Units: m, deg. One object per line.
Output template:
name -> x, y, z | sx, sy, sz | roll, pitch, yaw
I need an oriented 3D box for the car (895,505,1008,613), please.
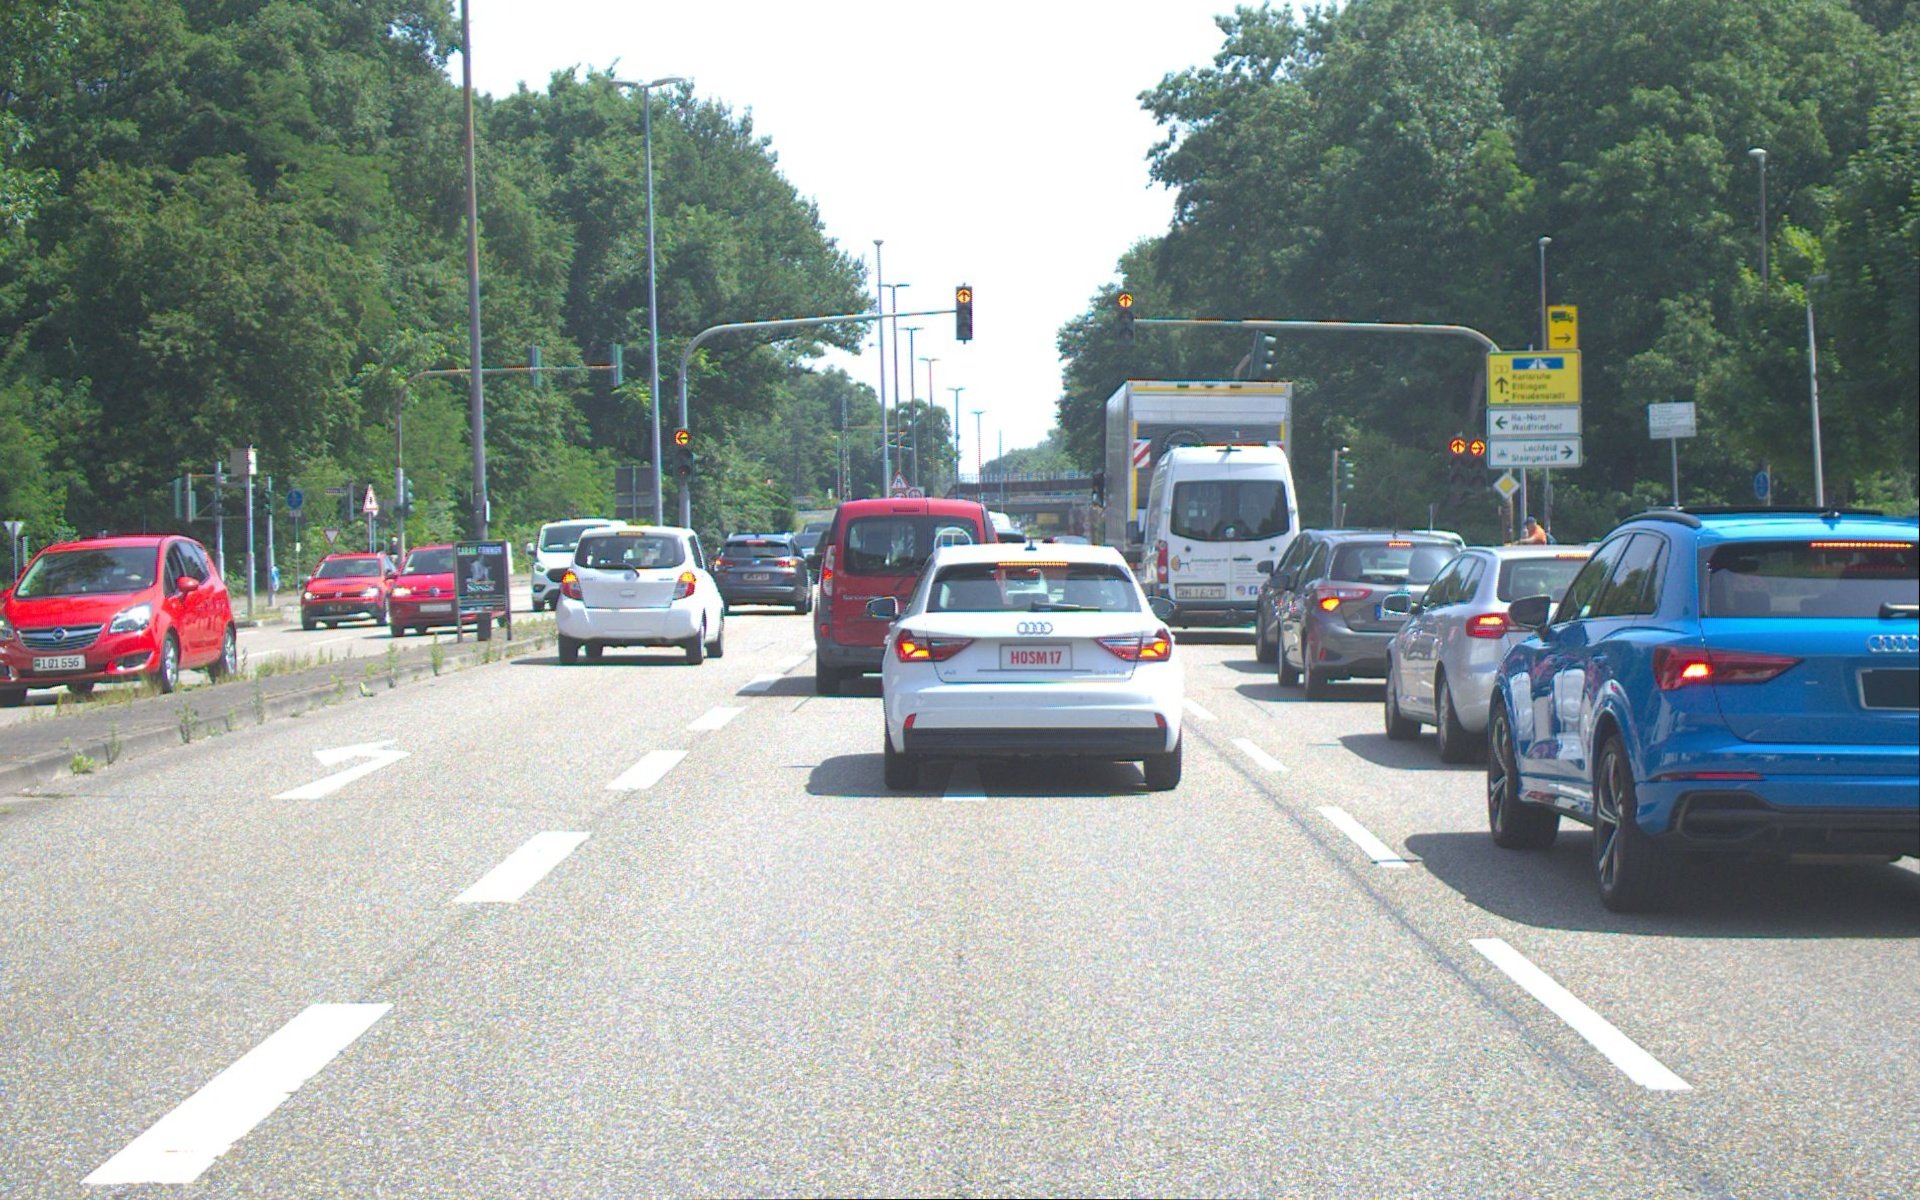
car -> -0.169, -0.666, 54.063 | 1.712, 1.626, 4.092 | 0, 1, -1

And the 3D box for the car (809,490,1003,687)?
car -> -0.512, -0.145, 32.497 | 1.712, 1.742, 4.092 | 0, 1, -1

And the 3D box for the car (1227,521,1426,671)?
car -> 4.035, -0.087, 38.380 | 1.712, 1.587, 4.092 | 0, 1, -1

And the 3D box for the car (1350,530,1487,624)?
car -> 7.736, -0.421, 58.320 | 1.712, 1.541, 4.092 | 0, 1, -1

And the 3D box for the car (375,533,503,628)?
car -> -8.590, -0.346, 56.913 | 1.580, 1.436, 3.609 | -3, 1, -1

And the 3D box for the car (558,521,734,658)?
car -> -3.546, -0.159, 39.411 | 1.712, 1.487, 4.092 | 0, 1, -1

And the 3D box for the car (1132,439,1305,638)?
car -> 3.545, -0.865, 47.923 | 2.031, 2.635, 4.845 | 0, 1, 0

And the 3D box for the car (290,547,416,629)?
car -> -12.016, -0.258, 68.276 | 1.705, 1.447, 3.891 | -4, 1, 1

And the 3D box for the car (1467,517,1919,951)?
car -> 3.435, 0.439, 14.808 | 1.837, 1.590, 4.400 | 0, 1, 0

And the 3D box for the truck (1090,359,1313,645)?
truck -> 3.967, -1.641, 59.180 | 3.088, 4.418, 11.580 | 1, 1, 1

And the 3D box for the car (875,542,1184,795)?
car -> 0.350, 0.347, 21.072 | 1.712, 1.381, 4.092 | 0, 1, -1

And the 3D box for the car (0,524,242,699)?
car -> -8.554, 0.070, 34.471 | 1.749, 1.564, 4.153 | -3, 1, 0

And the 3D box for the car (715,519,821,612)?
car -> -3.456, -0.642, 62.537 | 1.774, 1.635, 4.037 | 0, 1, -1

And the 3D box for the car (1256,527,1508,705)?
car -> 3.854, 0.095, 32.005 | 1.712, 1.473, 4.092 | 3, 1, -1

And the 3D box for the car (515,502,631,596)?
car -> -8.619, -1.153, 77.000 | 1.993, 1.939, 4.909 | -3, 1, -1

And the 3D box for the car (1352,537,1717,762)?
car -> 3.814, 0.272, 23.465 | 1.712, 1.357, 4.092 | 1, 1, -1
